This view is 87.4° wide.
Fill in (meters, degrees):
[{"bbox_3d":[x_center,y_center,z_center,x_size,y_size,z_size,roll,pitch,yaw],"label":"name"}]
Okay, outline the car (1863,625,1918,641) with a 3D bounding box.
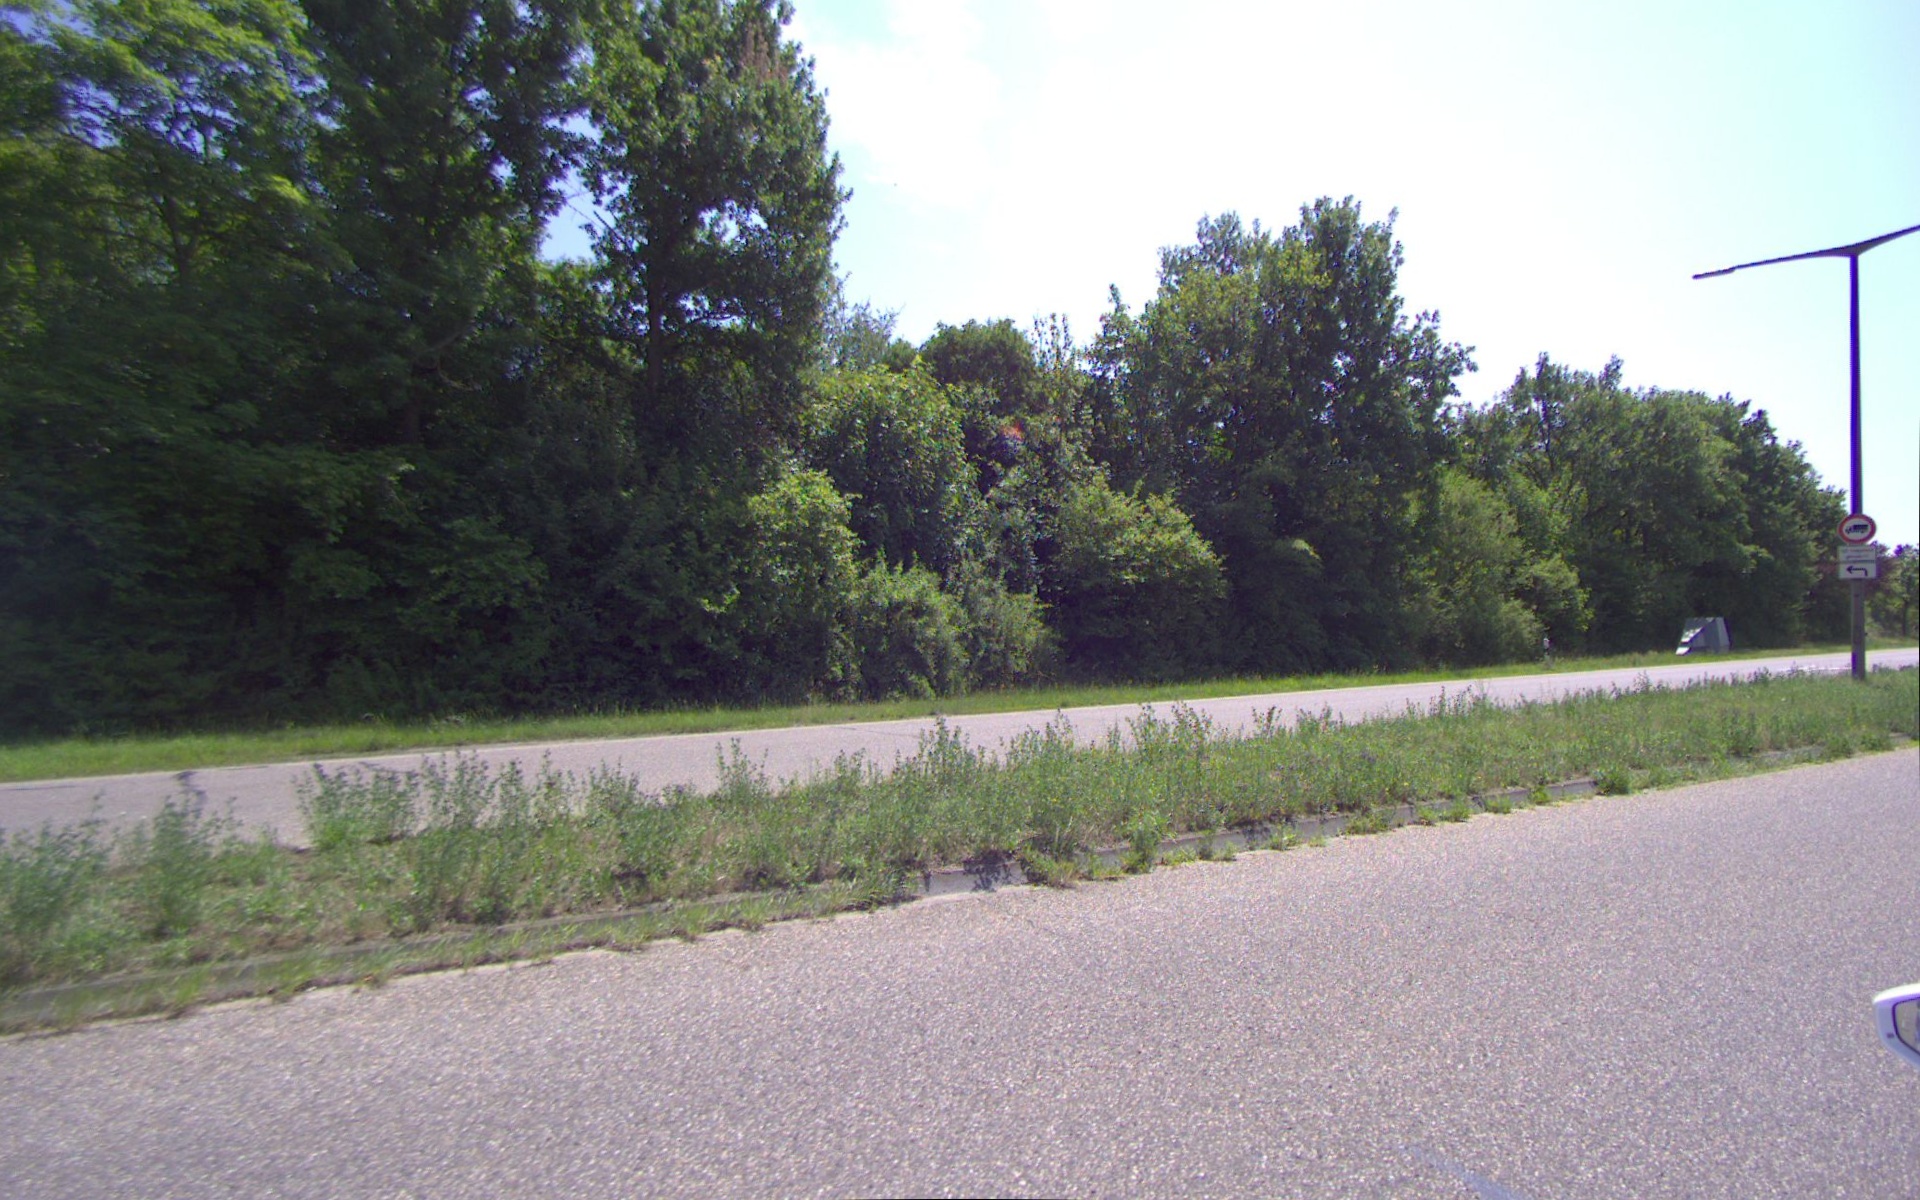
[{"bbox_3d":[105.592,3.752,114.017,1.964,1.663,4.479,1,0,-43],"label":"car"}]
